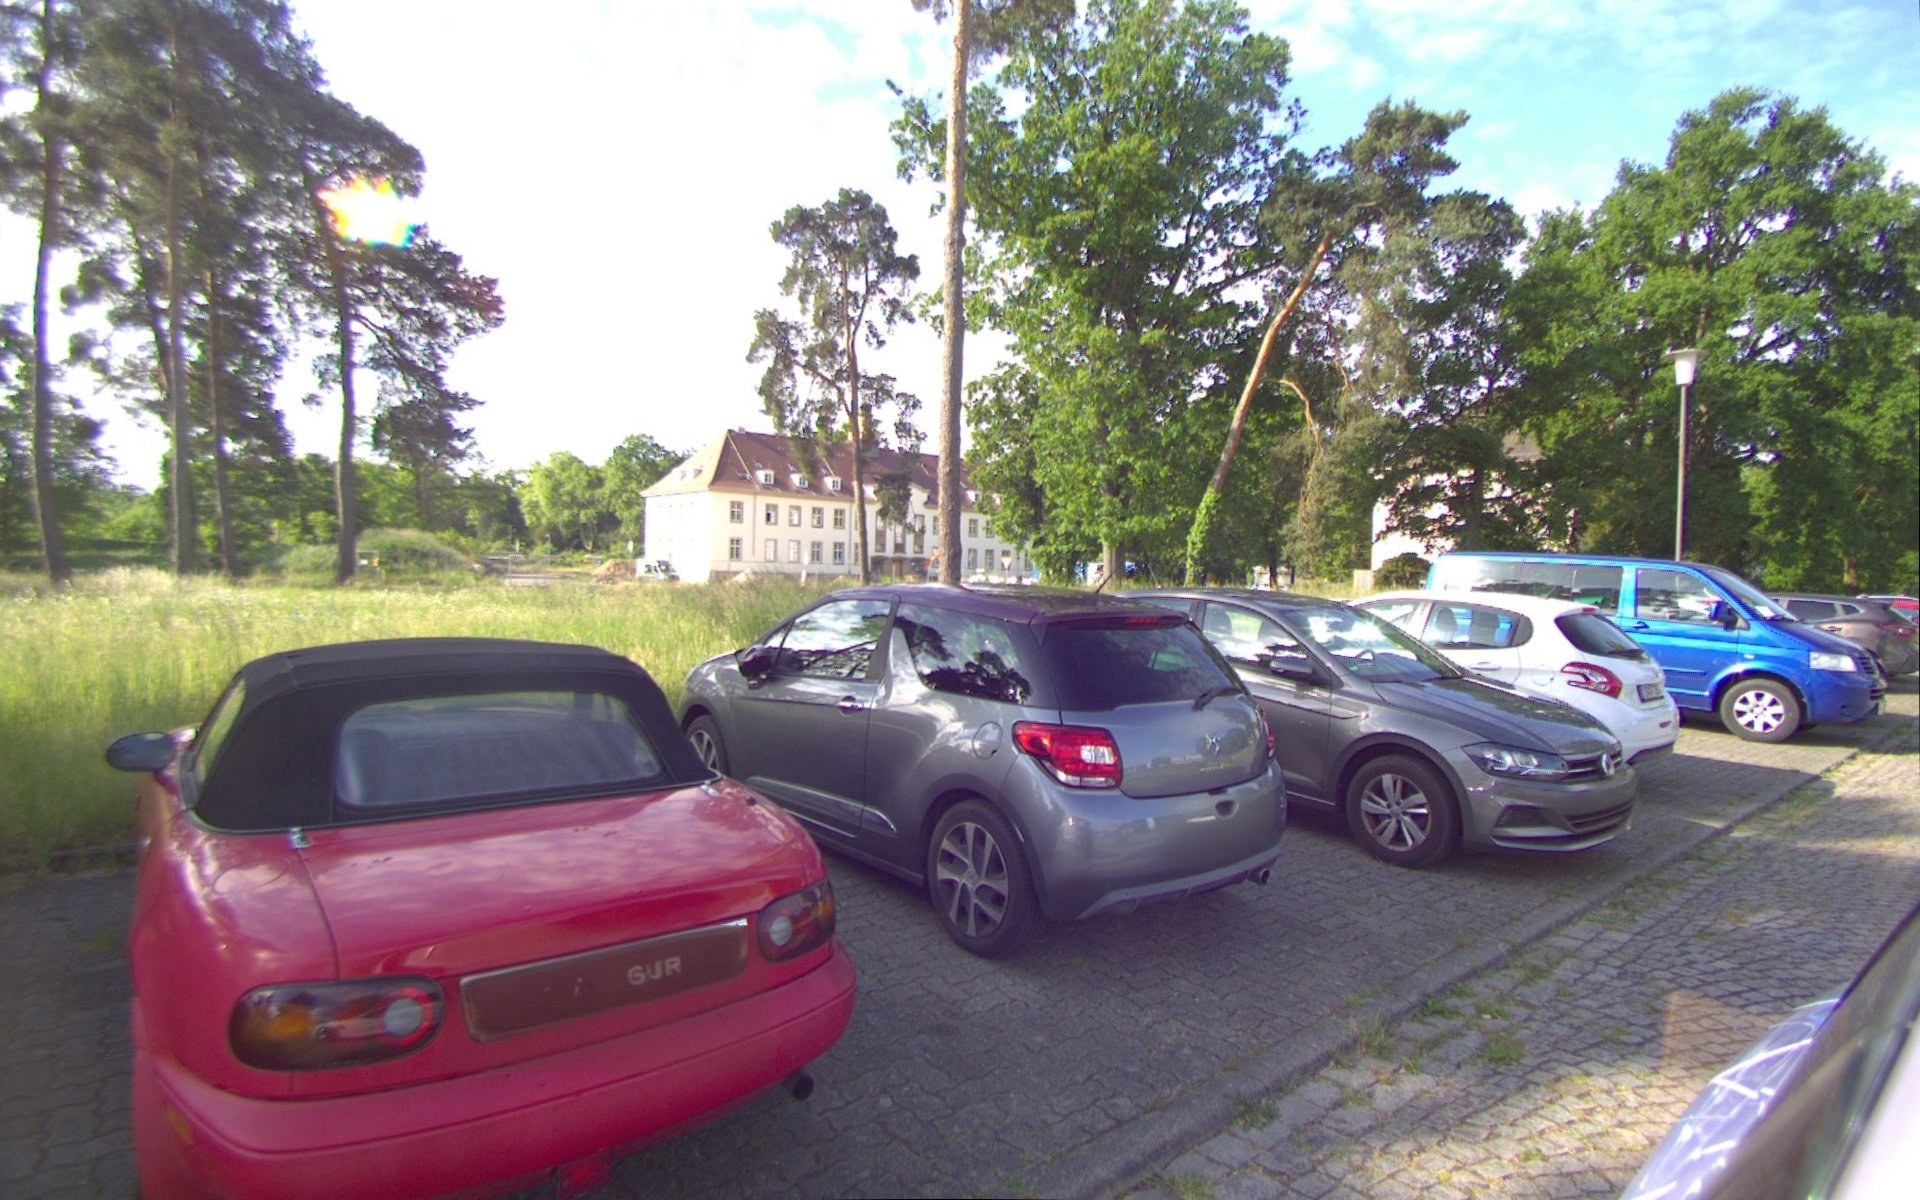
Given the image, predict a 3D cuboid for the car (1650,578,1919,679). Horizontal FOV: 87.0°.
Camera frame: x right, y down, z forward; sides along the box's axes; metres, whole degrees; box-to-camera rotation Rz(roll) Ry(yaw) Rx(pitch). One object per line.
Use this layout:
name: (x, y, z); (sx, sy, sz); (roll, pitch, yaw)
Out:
car: (16.600, 0.462, 20.266); (1.902, 1.617, 4.233); (-1, 4, -43)

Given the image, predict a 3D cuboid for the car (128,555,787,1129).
car: (-2.442, 0.511, 4.345); (1.715, 1.238, 3.717); (1, 3, -39)

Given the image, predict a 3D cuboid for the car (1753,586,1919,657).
car: (22.395, 0.520, 24.993); (1.821, 1.477, 4.096); (1, 3, -41)

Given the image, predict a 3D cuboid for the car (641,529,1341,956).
car: (-0.129, 0.409, 5.547); (1.784, 1.466, 3.716); (1, 3, -40)

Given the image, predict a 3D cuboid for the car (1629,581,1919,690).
car: (14.812, 0.537, 18.257); (1.902, 1.617, 4.232); (-1, 3, -43)

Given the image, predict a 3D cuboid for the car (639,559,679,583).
car: (-29.303, -2.787, 98.491); (1.967, 2.240, 4.423); (-1, 0, -44)

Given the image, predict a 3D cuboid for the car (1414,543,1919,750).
car: (8.388, 0.353, 12.400); (1.965, 1.959, 4.709); (0, 3, -40)

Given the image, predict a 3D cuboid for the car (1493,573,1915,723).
car: (10.221, 0.521, 14.216); (1.905, 1.596, 4.408); (0, 3, -40)

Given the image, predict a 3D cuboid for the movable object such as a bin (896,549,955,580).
movable object such as a bin: (-3.856, -3.963, 113.791); (6.338, 3.342, 2.862); (-1, 0, 7)

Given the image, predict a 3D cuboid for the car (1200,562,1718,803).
car: (4.221, 0.528, 9.029); (1.729, 1.553, 3.717); (1, 3, -39)

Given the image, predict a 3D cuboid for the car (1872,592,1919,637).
car: (33.813, 0.597, 34.293); (1.754, 1.440, 4.096); (1, 3, -41)

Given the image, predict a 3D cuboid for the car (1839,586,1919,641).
car: (30.143, 0.493, 31.400); (1.821, 1.576, 4.096); (1, 3, -41)

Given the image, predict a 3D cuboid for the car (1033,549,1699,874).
car: (2.457, 0.466, 6.842); (1.823, 1.466, 3.717); (1, 3, -39)
